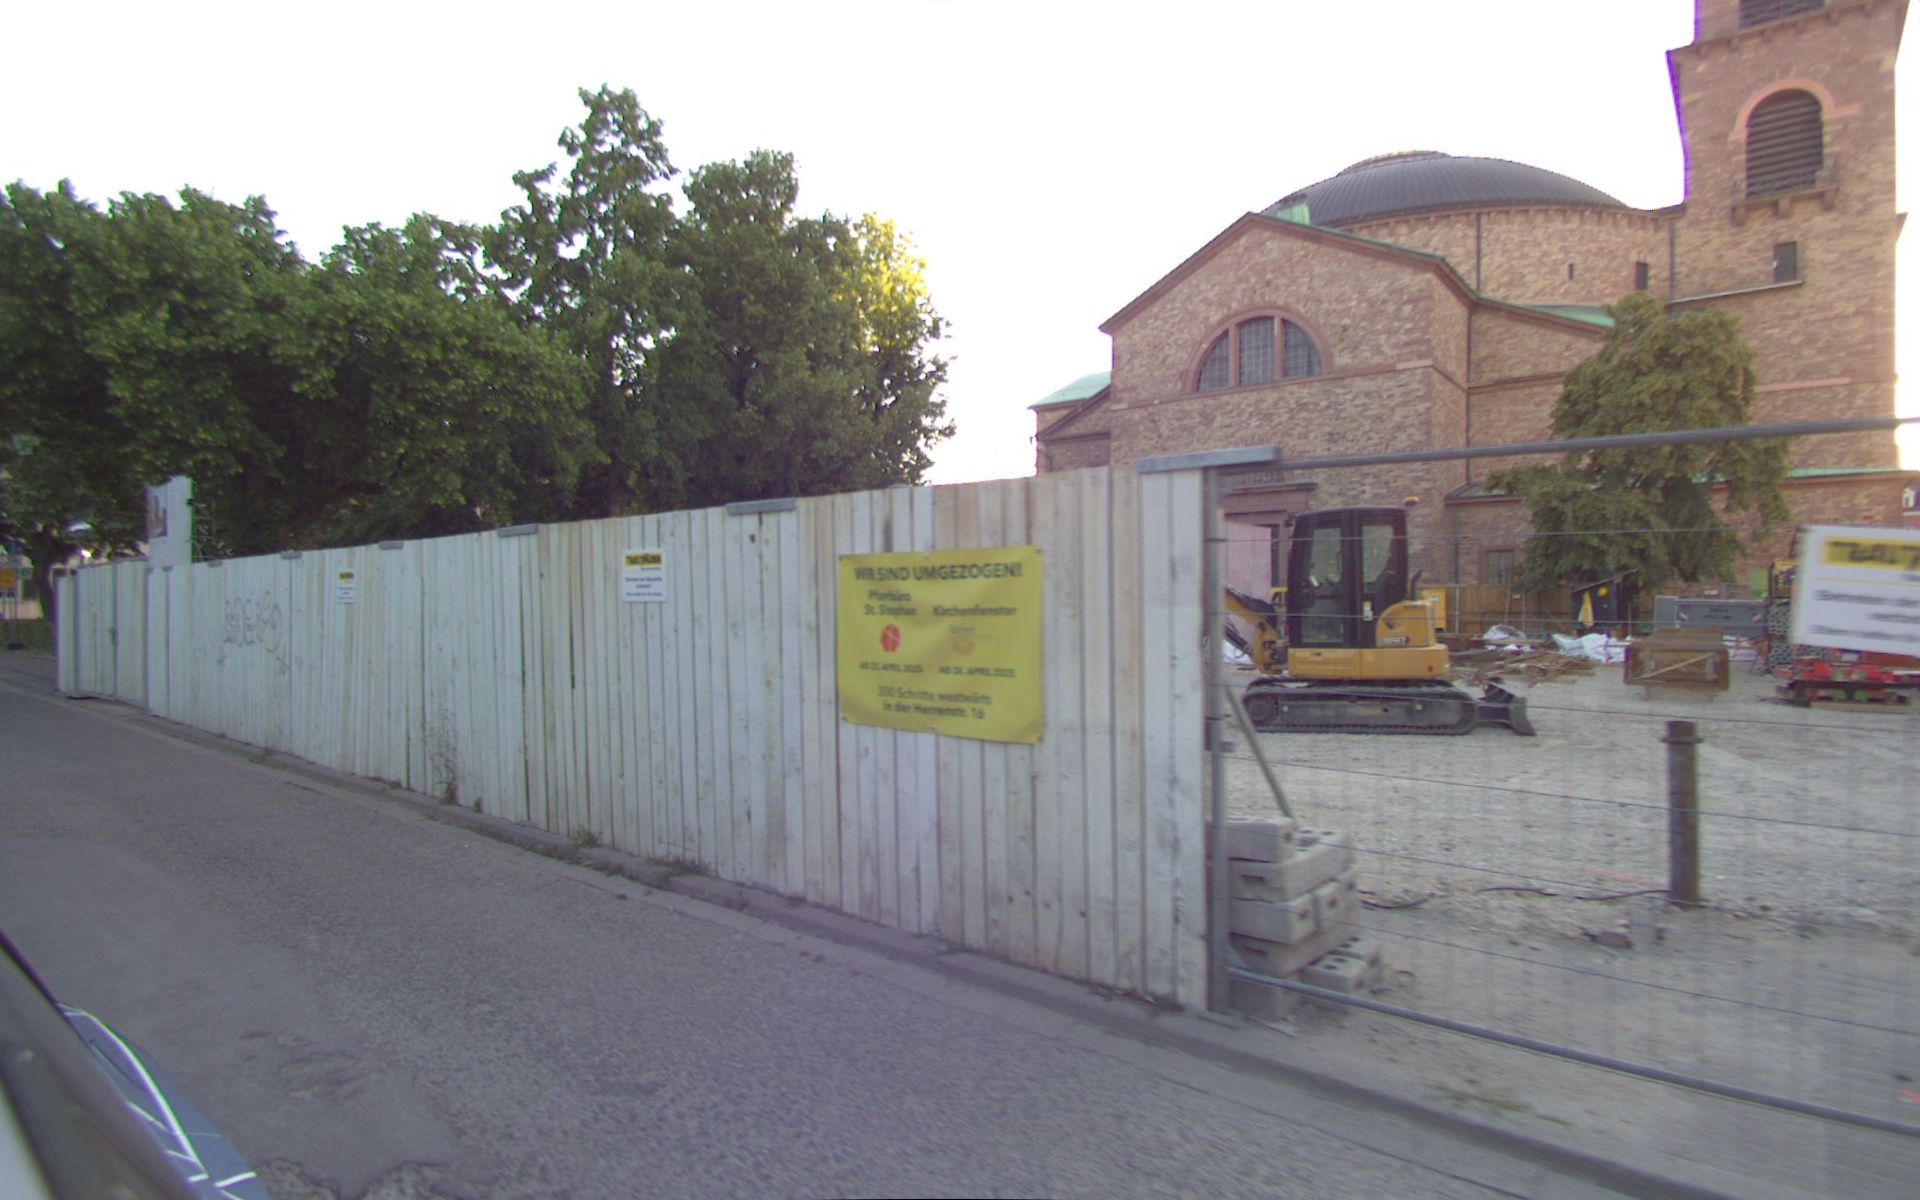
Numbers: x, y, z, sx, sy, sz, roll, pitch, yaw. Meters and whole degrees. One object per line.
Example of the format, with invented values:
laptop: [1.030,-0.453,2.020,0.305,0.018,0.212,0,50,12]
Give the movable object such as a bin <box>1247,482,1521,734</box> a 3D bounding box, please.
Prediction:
movable object such as a bin: [4.856,0.097,11.998,2.725,2.623,2.146,0,-1,18]
